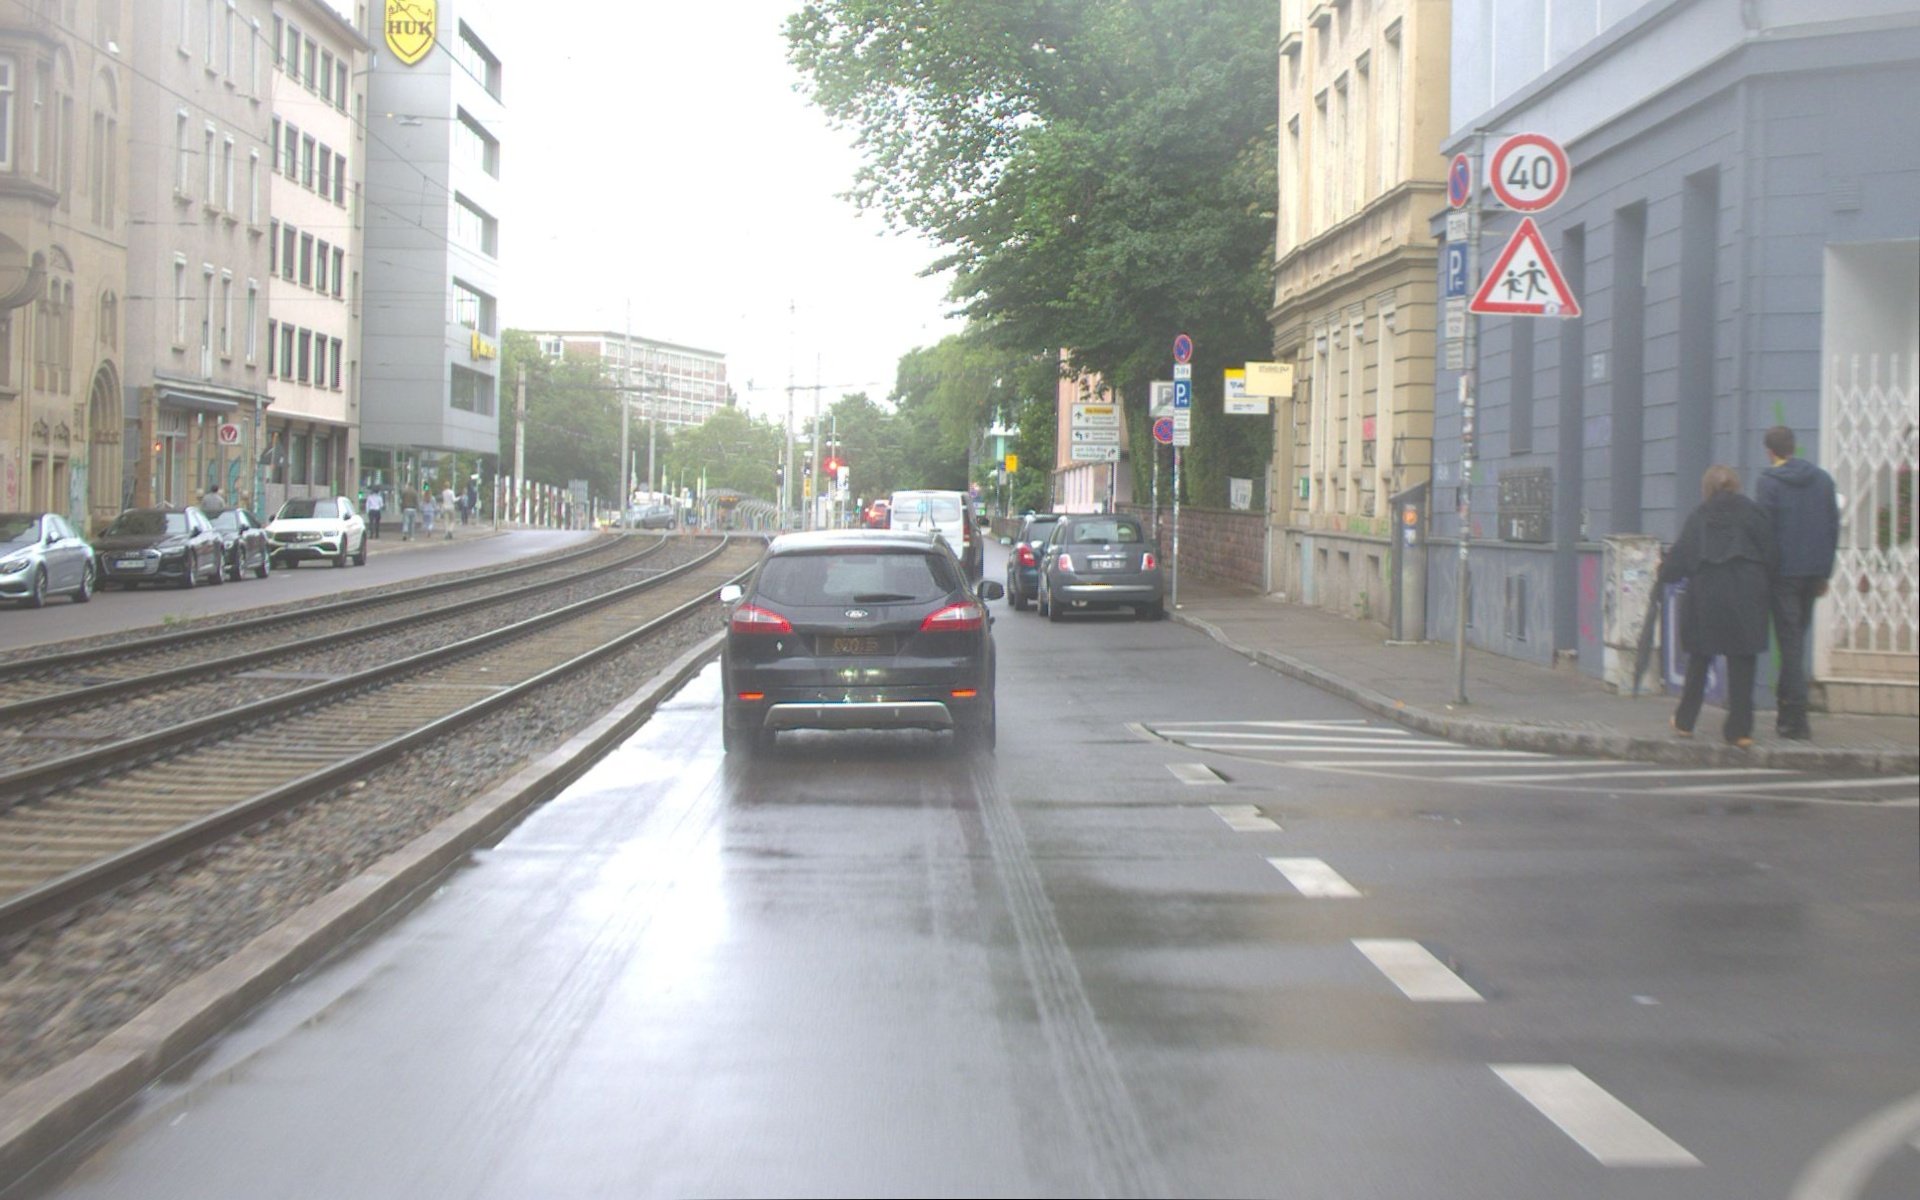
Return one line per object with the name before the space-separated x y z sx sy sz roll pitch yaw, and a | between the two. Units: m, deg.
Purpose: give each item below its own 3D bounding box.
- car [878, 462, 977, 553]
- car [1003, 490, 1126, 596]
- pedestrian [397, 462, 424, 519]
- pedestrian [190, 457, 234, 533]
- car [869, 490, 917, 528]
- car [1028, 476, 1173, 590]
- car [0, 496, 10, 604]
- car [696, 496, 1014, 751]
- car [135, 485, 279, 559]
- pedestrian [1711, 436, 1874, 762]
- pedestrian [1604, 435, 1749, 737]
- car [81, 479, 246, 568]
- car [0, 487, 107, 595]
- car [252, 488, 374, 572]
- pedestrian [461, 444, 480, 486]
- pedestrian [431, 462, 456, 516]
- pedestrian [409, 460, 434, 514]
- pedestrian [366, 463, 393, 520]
car | -0.689 -1.926 72.197 1.993 1.810 4.272 1 1 0
car | 1.597 -0.922 53.755 1.642 1.510 4.040 1 2 -2
pedestrian | -17.937 -3.578 112.221 0.744 1.847 0.839 1 1 -2
pedestrian | -17.519 -2.464 80.569 0.801 1.744 0.984 2 2 -2
car | -2.853 -3.894 148.064 1.993 1.588 4.272 1 1 0
car | 1.961 -0.988 49.040 1.738 1.484 4.001 1 2 -2
car | -14.523 -0.681 46.908 1.993 1.514 4.209 2 2 -1
car | -0.685 0.108 23.921 1.993 1.588 4.272 1 1 0
car | -15.004 -1.578 68.713 1.993 1.371 4.239 2 2 -1
pedestrian | 5.243 -0.022 21.691 0.736 2.006 0.821 1 2 -2
pedestrian | 4.497 -0.101 21.617 0.661 1.845 0.821 1 2 -2
car | -14.521 -1.423 62.925 1.993 1.514 4.676 2 2 -1
car | -14.577 -0.935 52.312 1.993 1.514 4.993 2 2 -1
car | -15.092 -1.658 80.428 1.993 1.833 5.072 2 2 -2
pedestrian | -22.190 -6.105 155.775 0.744 1.847 0.839 1 1 -2
pedestrian | -17.775 -3.827 118.399 0.744 1.847 0.839 1 1 -2
pedestrian | -18.552 -3.884 118.402 0.744 1.847 0.839 1 1 -2
pedestrian | -18.911 -3.533 111.983 0.744 1.847 0.839 1 1 -2
